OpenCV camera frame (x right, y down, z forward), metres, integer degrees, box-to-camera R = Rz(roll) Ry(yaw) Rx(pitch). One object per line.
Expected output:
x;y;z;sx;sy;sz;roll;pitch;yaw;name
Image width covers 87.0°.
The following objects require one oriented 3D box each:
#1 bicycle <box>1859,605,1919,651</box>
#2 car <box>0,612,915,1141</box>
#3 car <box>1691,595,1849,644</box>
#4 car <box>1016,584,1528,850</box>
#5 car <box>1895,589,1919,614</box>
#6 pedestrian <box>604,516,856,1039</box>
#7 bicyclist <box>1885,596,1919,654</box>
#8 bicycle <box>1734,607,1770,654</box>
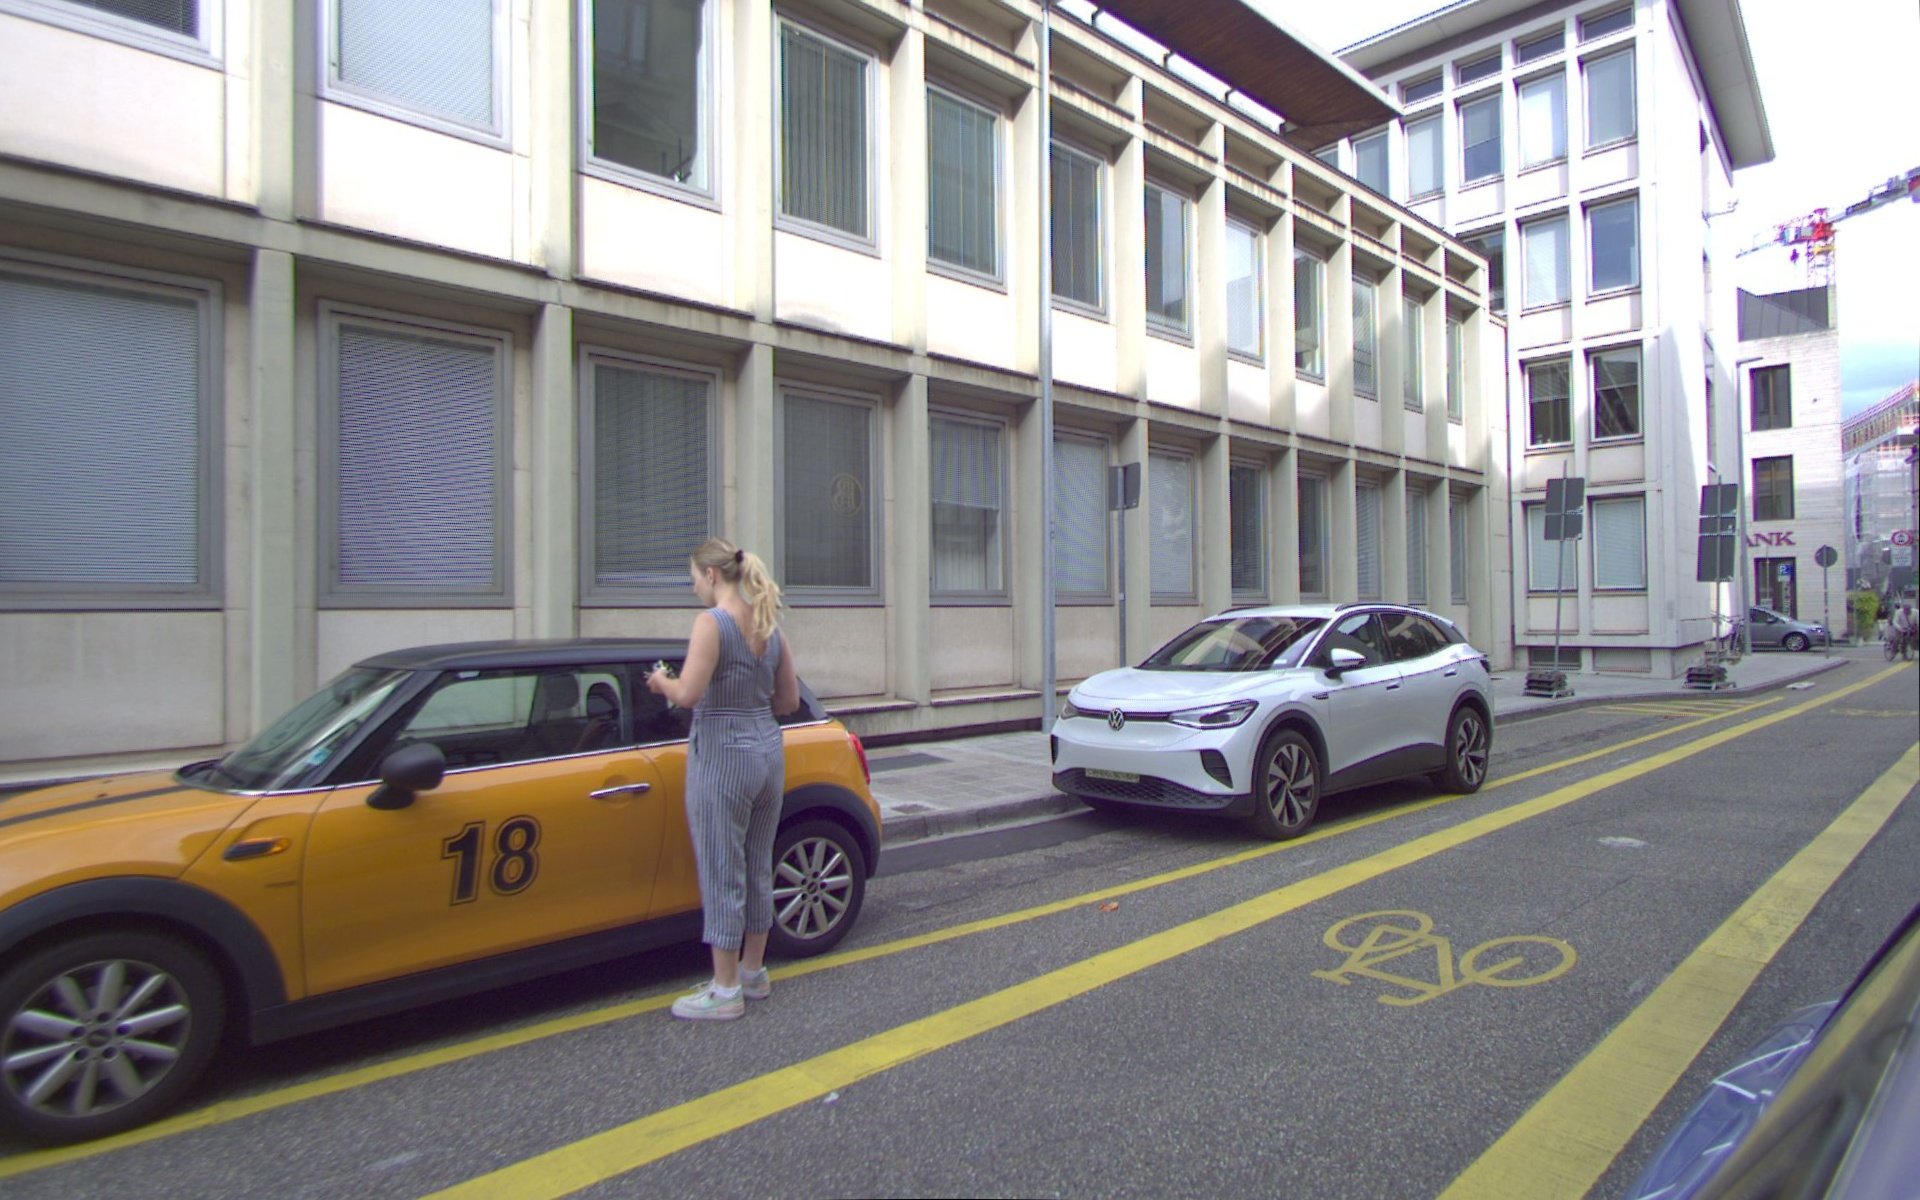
26.989;0.777;28.865;0.859;1.210;2.848;-1;0;17;bicycle
-2.228;0.841;4.263;3.816;1.454;1.683;2;-5;-39;car
28.569;0.675;35.771;1.786;1.611;4.183;-1;0;-45;car
2.747;0.746;8.384;4.431;1.626;1.863;-1;-3;-39;car
60.806;0.067;64.218;1.578;1.505;3.951;-1;0;34;car
-0.904;0.605;3.962;0.694;1.786;0.698;0;-1;-42;pedestrian
26.885;0.695;28.521;0.880;1.614;0.872;-1;0;17;bicyclist
20.892;0.791;26.686;0.588;1.182;1.787;-1;0;43;bicycle
